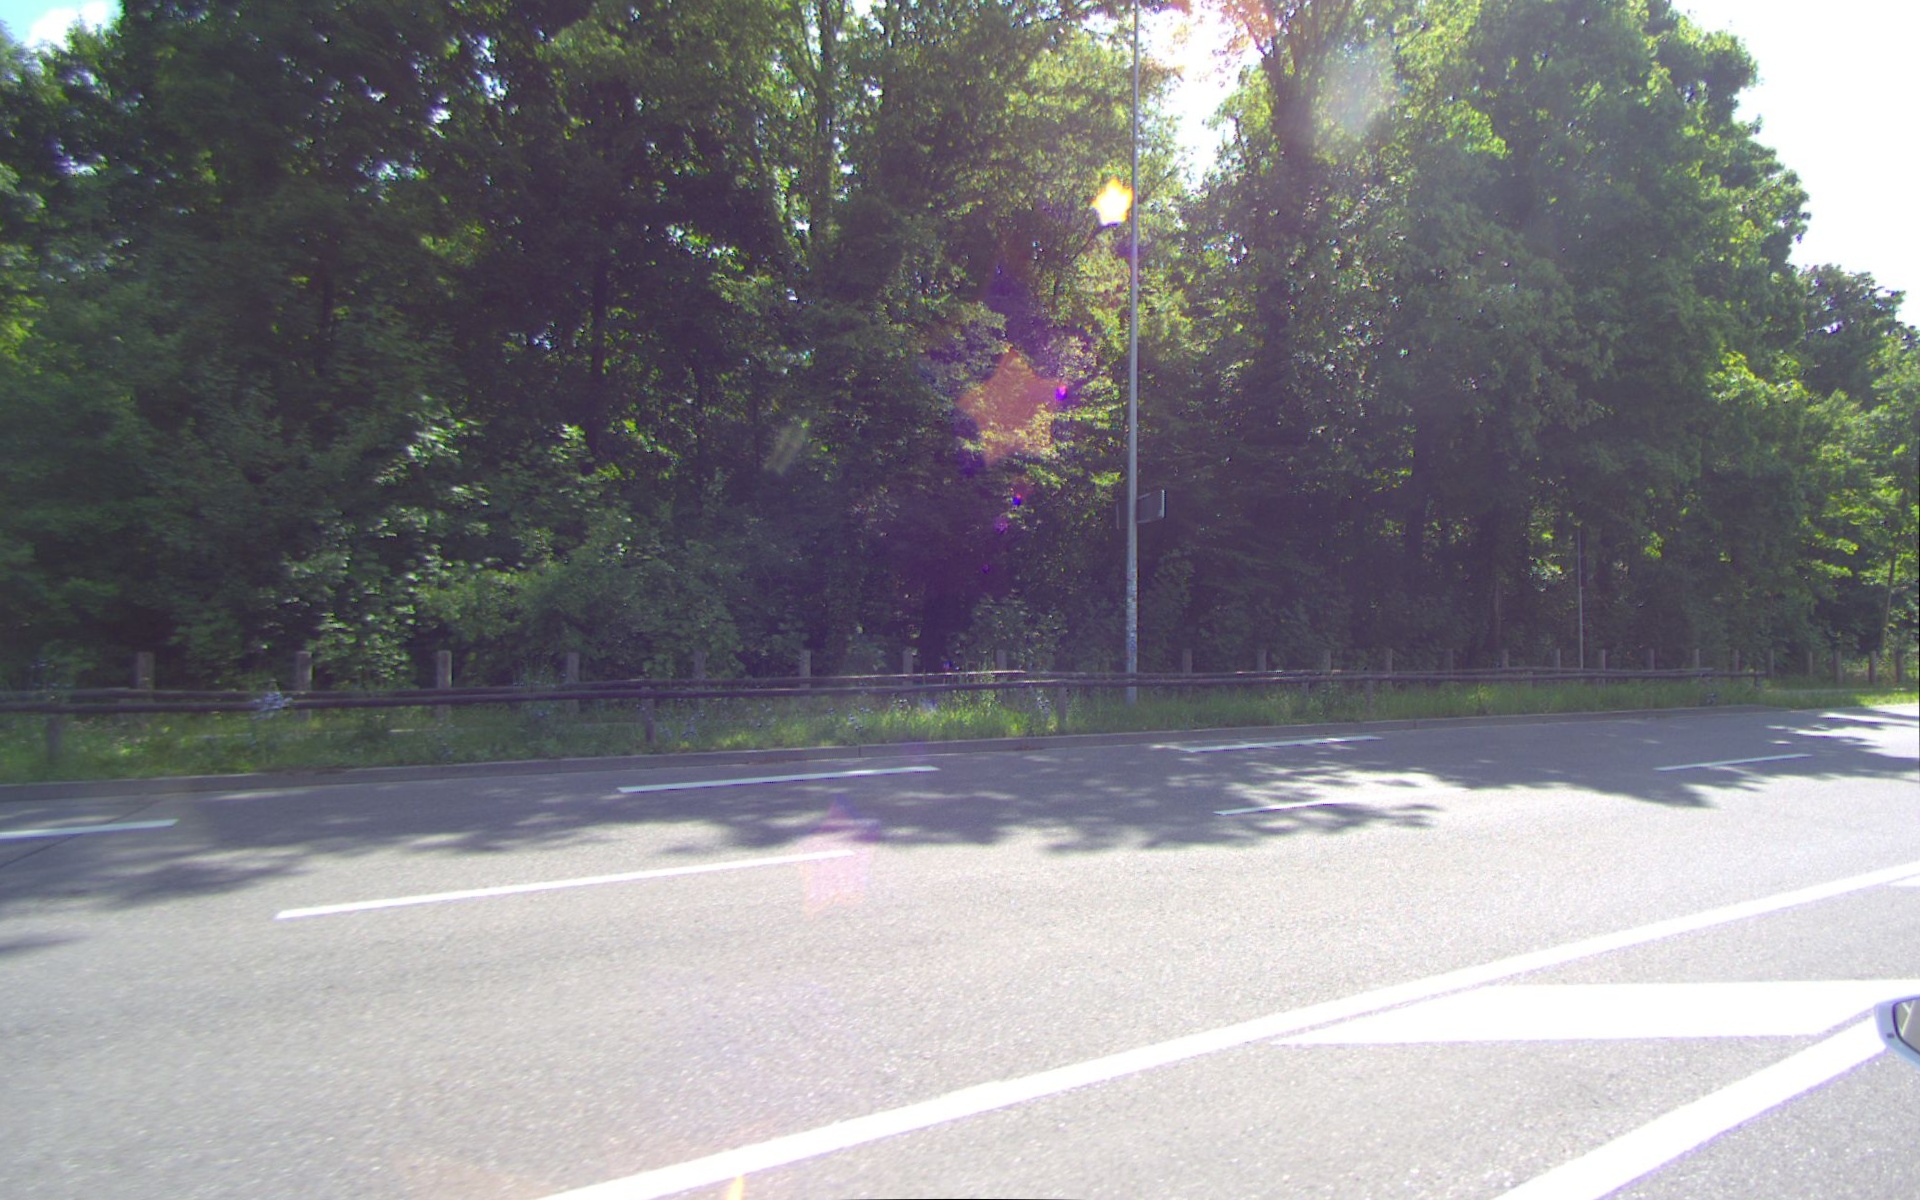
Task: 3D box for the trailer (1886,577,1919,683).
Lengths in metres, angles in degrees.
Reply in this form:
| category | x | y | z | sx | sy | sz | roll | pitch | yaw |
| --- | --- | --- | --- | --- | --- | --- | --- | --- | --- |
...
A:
| category | x | y | z | sx | sy | sz | roll | pitch | yaw |
| --- | --- | --- | --- | --- | --- | --- | --- | --- | --- |
| trailer | 23.772 | 0.730 | 23.405 | 3.948 | 2.420 | 1.986 | 1 | -1 | -27 |
